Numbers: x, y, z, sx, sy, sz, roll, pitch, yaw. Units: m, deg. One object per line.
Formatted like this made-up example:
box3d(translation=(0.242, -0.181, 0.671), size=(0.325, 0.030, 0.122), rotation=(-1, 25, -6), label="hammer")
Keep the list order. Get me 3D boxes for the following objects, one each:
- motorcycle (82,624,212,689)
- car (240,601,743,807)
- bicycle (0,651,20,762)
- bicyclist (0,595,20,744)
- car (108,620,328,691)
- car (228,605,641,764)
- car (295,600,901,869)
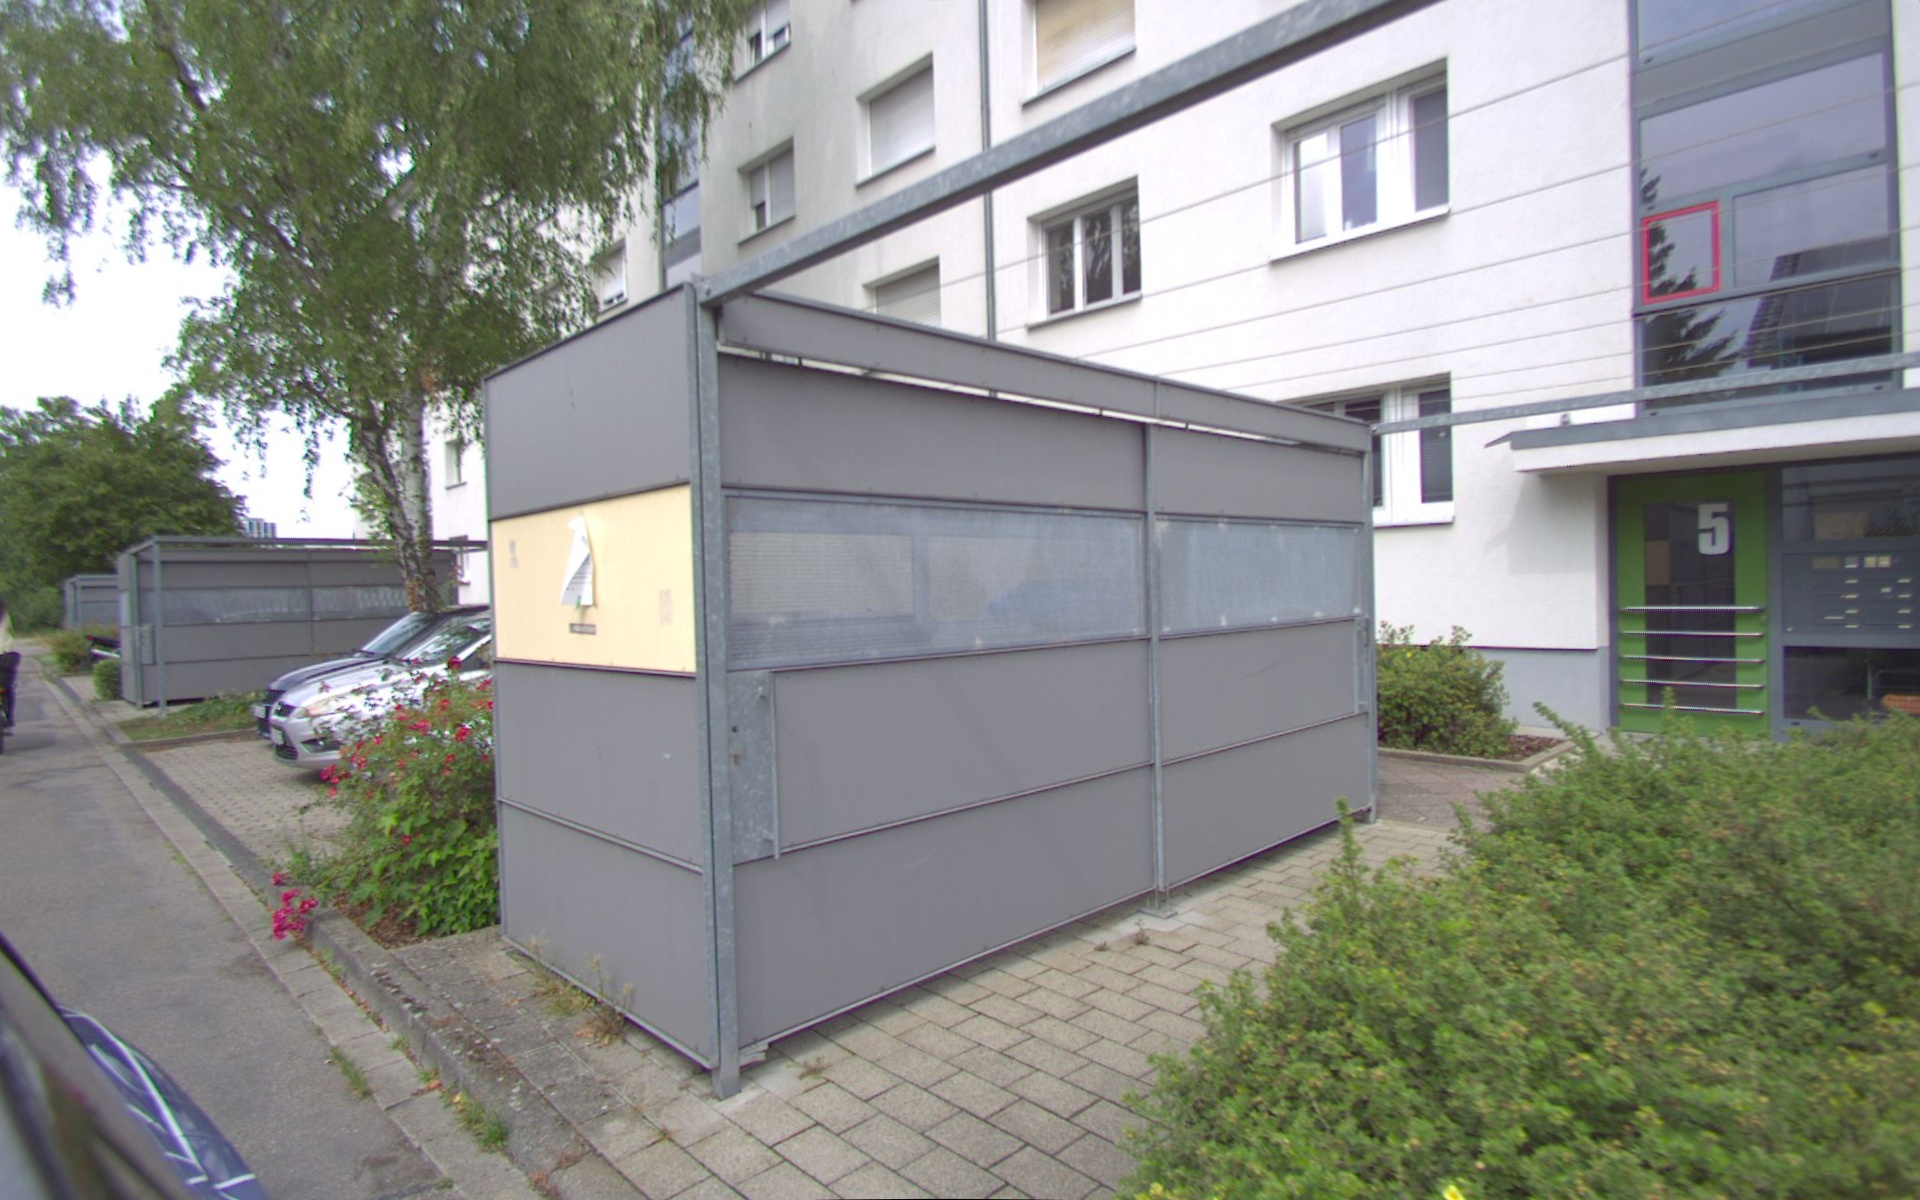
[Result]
box3d(translation=(-19.327, 1.306, 24.115), size=(2.349, 1.475, 0.714), rotation=(1, -2, -44), label="motorcycle")
box3d(translation=(-4.291, 0.795, 9.682), size=(4.004, 1.516, 1.783), rotation=(-1, 0, -44), label="car")
box3d(translation=(-10.706, 1.138, 11.079), size=(0.590, 1.084, 2.045), rotation=(0, -1, -42), label="bicycle")
box3d(translation=(-10.618, 0.745, 10.984), size=(0.590, 1.593, 0.768), rotation=(0, -1, -43), label="bicyclist")
box3d(translation=(-17.246, 1.228, 23.614), size=(3.939, 1.497, 1.905), rotation=(1, -1, -43), label="car")
box3d(translation=(-6.071, 0.847, 11.994), size=(4.004, 1.516, 1.783), rotation=(-1, 0, -44), label="car")
box3d(translation=(-2.549, 0.772, 7.767), size=(4.004, 1.475, 1.783), rotation=(-1, 0, -44), label="car")
